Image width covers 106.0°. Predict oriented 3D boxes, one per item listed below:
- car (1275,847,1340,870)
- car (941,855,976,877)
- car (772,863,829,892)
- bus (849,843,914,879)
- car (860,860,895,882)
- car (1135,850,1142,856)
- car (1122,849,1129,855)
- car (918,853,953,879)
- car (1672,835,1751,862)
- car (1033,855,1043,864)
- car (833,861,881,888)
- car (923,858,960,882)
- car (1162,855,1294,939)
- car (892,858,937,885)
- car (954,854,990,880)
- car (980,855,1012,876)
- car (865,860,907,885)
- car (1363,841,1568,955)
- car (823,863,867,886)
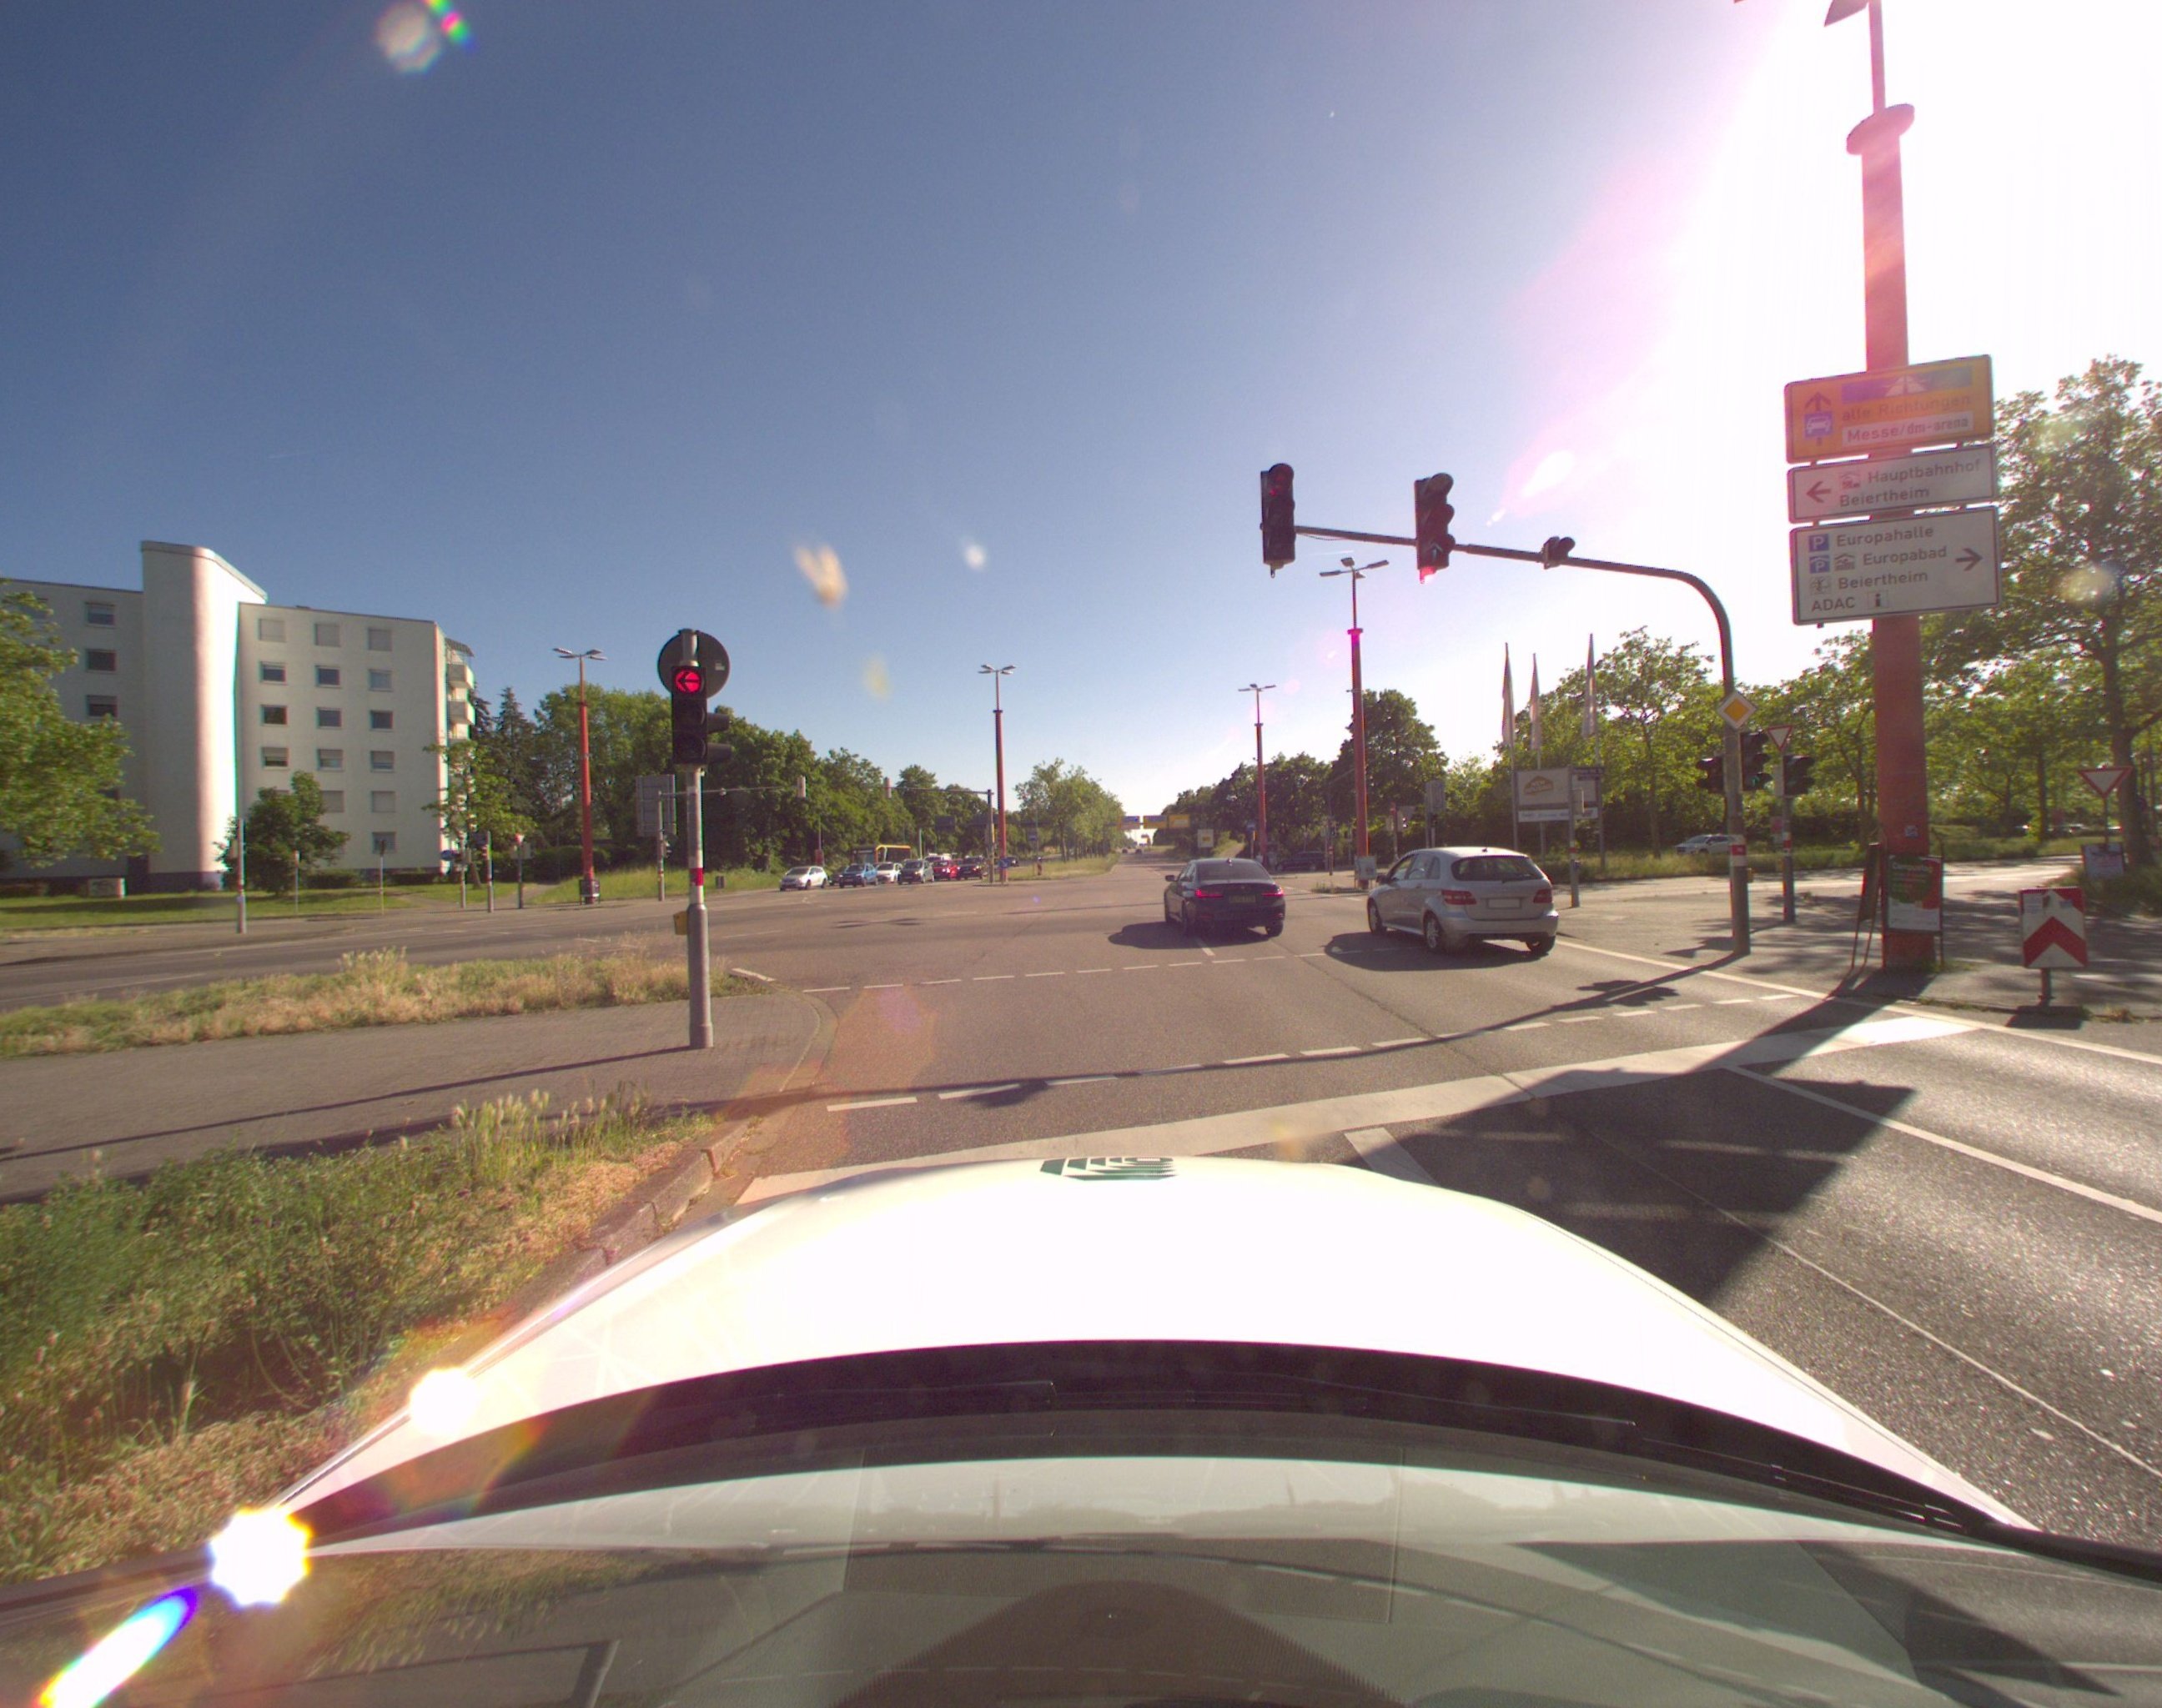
[{"bbox_3d":[16.680,0.326,60.051,4.245,1.635,1.780,-1,-1,45],"label":"car"},{"bbox_3d":[-9.746,0.935,65.012,1.893,1.630,4.003,-1,0,3],"label":"car"},{"bbox_3d":[-17.643,1.424,51.408,1.869,1.652,4.222,-3,-1,3],"label":"car"},{"bbox_3d":[-19.360,0.720,80.123,2.635,3.261,12.545,0,0,3],"label":"bus"},{"bbox_3d":[-16.799,1.385,67.357,1.772,1.652,3.973,-4,-1,0],"label":"car"},{"bbox_3d":[17.108,-0.398,241.377,1.986,1.733,4.001,0,-1,2],"label":"car"},{"bbox_3d":[13.313,-0.644,244.692,1.986,1.733,4.001,0,-1,2],"label":"car"},{"bbox_3d":[-12.722,1.001,71.293,1.954,2.155,5.083,-2,0,1],"label":"car"},{"bbox_3d":[42.756,-0.371,55.237,4.282,1.635,1.764,-2,0,-9],"label":"car"},{"bbox_3d":[-9.588,1.147,181.862,1.913,1.999,4.605,-2,0,1],"label":"car"},{"bbox_3d":[-14.137,1.286,51.608,1.794,1.515,3.861,-3,0,2],"label":"car"},{"bbox_3d":[-10.066,1.126,59.015,1.869,1.552,4.000,-5,0,0],"label":"car"},{"bbox_3d":[2.779,0.767,16.385,1.759,1.441,4.291,0,-1,-2],"label":"car"},{"bbox_3d":[-10.695,1.079,52.688,1.867,1.550,4.029,-3,0,2],"label":"car"},{"bbox_3d":[-7.527,0.858,56.694,1.787,1.626,4.144,-3,0,1],"label":"car"},{"bbox_3d":[-6.677,0.864,64.158,1.878,1.543,4.002,-3,0,2],"label":"car"},{"bbox_3d":[-13.773,1.288,57.754,1.895,1.555,4.000,-3,0,0],"label":"car"},{"bbox_3d":[6.152,0.642,13.542,1.709,1.608,3.849,0,-1,2],"label":"car"},{"bbox_3d":[-17.557,1.503,60.671,1.877,1.513,4.003,-3,0,3],"label":"car"}]
